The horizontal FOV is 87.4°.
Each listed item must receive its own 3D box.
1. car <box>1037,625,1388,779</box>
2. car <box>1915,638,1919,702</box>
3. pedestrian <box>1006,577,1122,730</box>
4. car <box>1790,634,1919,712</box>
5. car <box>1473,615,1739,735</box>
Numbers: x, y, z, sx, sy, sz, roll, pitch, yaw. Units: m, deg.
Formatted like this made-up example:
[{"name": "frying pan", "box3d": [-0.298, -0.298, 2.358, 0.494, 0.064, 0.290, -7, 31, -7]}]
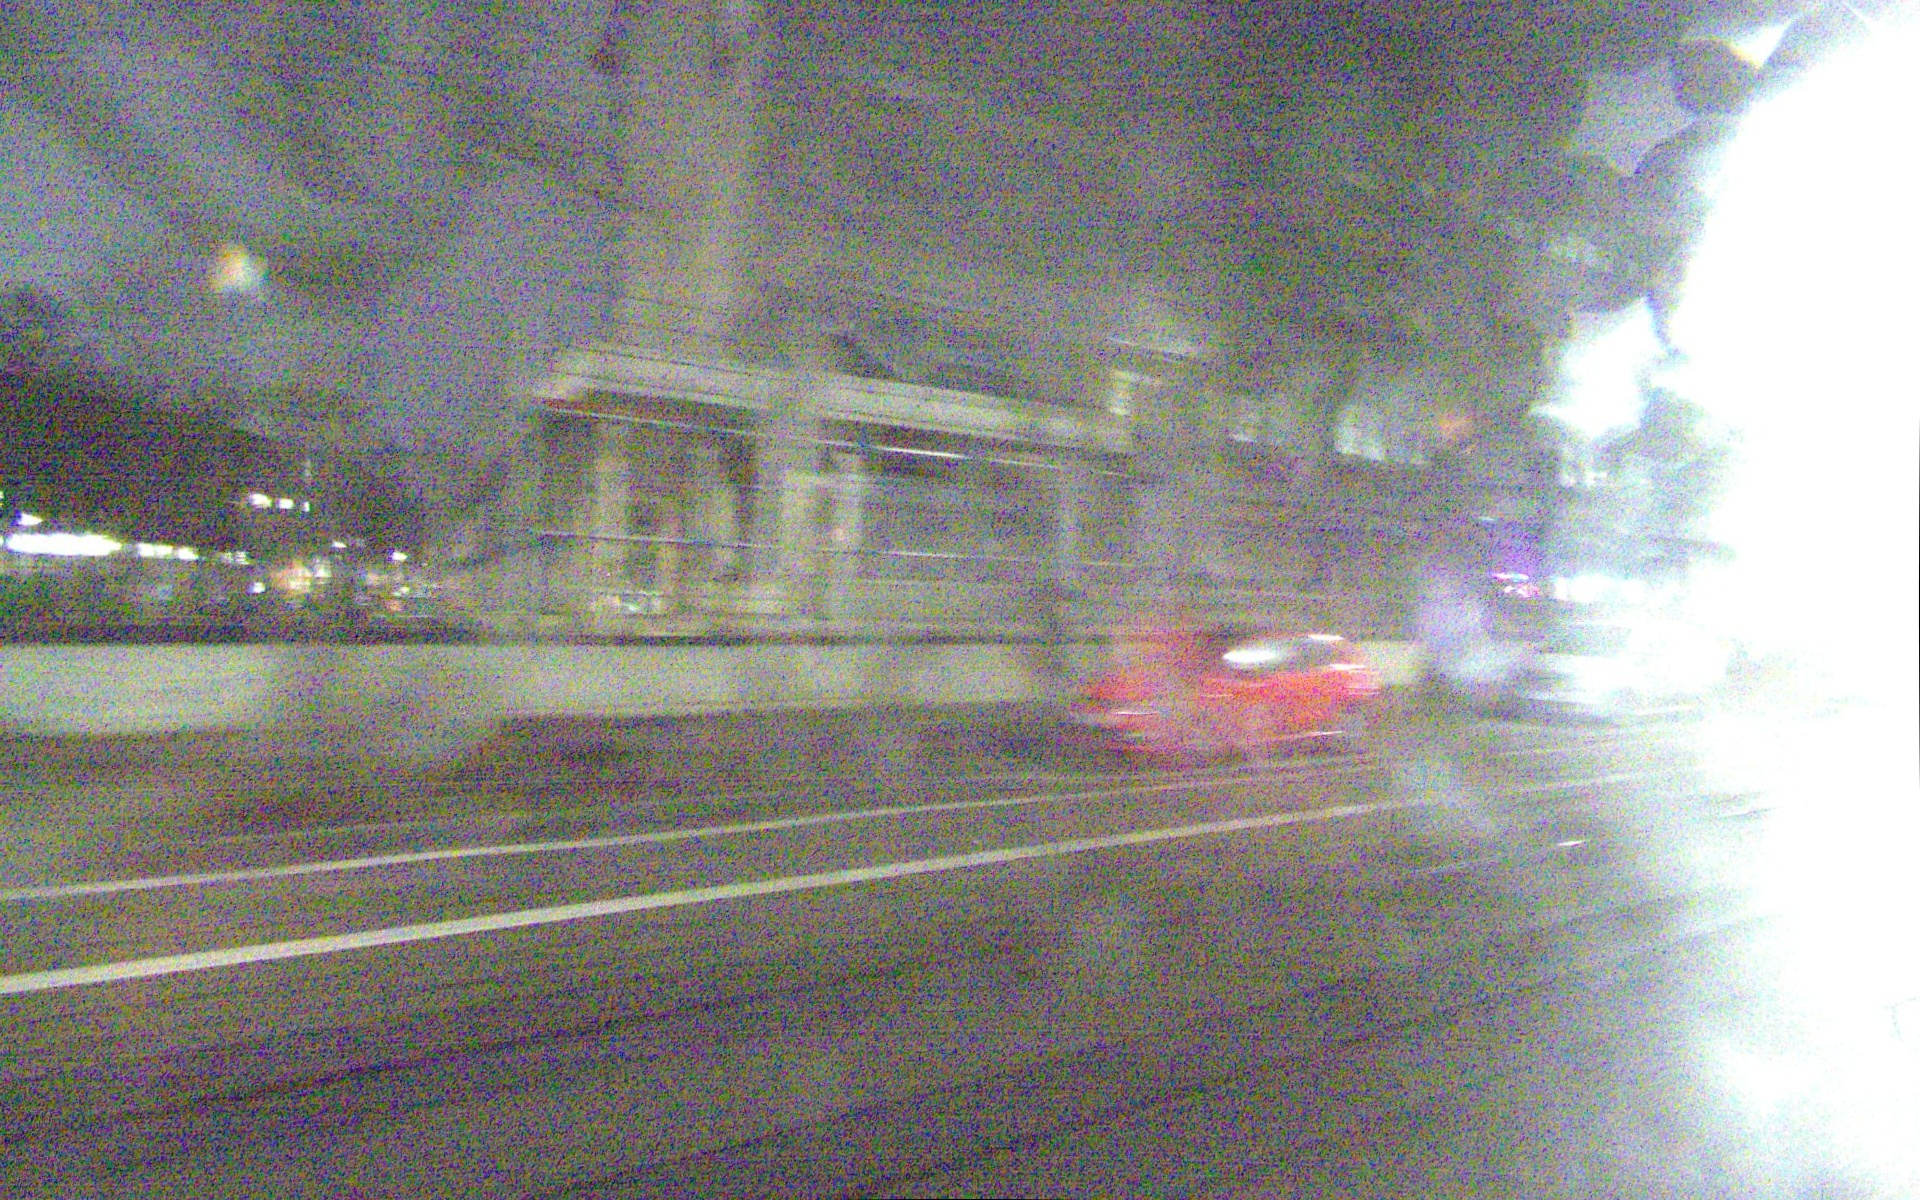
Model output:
[{"name": "car", "box3d": [2.993, 1.087, 11.721, 3.905, 1.475, 1.710, 2, 0, -31]}, {"name": "car", "box3d": [27.342, 1.929, 26.348, 4.537, 1.641, 2.132, 2, 2, -31]}, {"name": "pedestrian", "box3d": [1.382, 0.691, 13.343, 1.275, 1.927, 0.789, 2, 0, -30]}, {"name": "car", "box3d": [19.872, 1.499, 21.550, 4.571, 1.457, 1.723, 1, 0, -30]}, {"name": "car", "box3d": [10.499, 1.131, 16.270, 4.302, 1.600, 1.800, 1, 3, -30]}]
